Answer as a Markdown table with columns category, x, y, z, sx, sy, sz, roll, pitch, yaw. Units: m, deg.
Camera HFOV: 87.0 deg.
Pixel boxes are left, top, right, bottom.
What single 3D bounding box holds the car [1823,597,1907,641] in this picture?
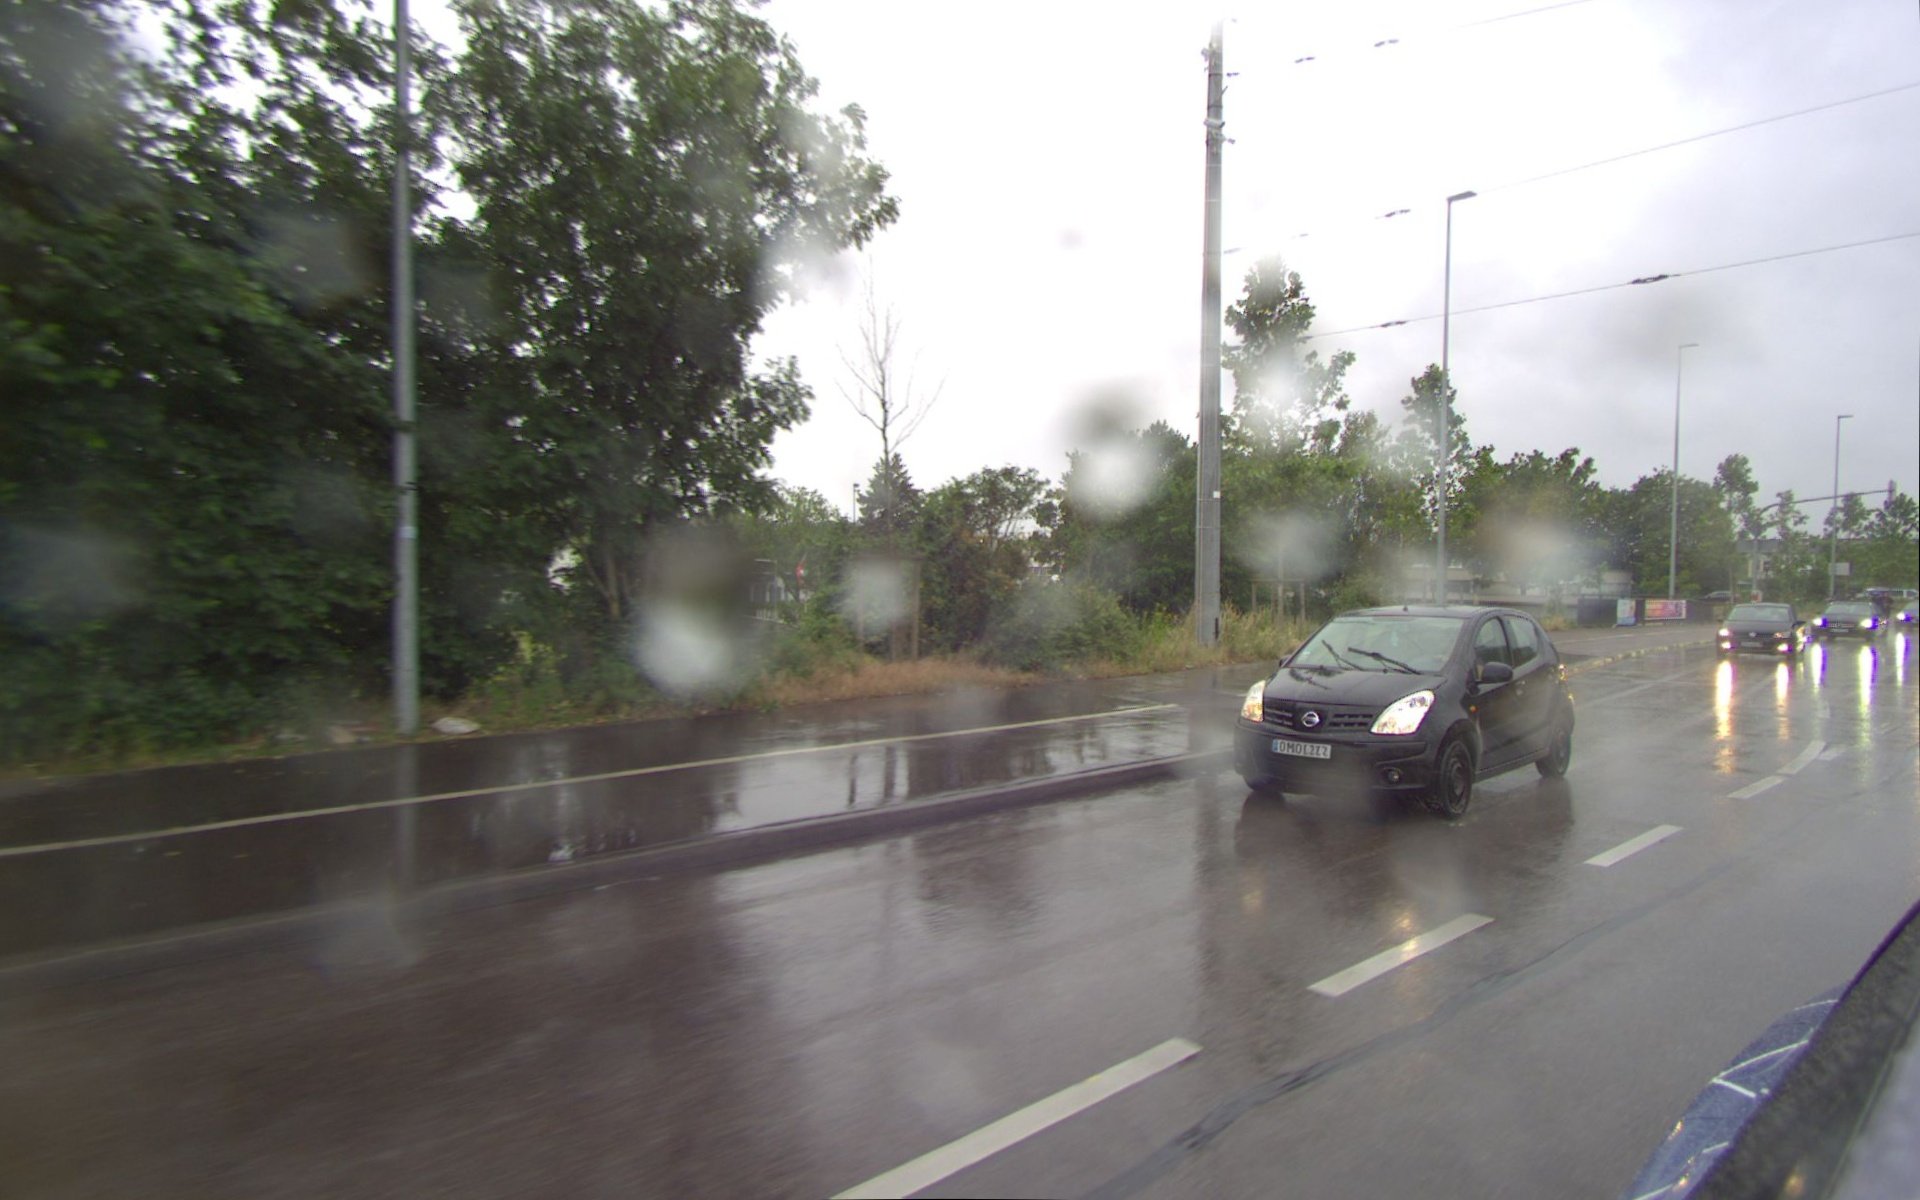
| category | x | y | z | sx | sy | sz | roll | pitch | yaw |
| --- | --- | --- | --- | --- | --- | --- | --- | --- | --- |
| car | 34.024 | 0.703 | 38.027 | 3.969 | 1.544 | 1.715 | 1 | 0 | -38 |

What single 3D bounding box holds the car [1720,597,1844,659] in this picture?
| category | x | y | z | sx | sy | sz | roll | pitch | yaw |
| --- | --- | --- | --- | --- | --- | --- | --- | --- | --- |
| car | 21.645 | 0.710 | 26.605 | 3.969 | 1.503 | 1.715 | 1 | 0 | -38 |

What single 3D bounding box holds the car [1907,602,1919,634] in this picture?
| category | x | y | z | sx | sy | sz | roll | pitch | yaw |
| --- | --- | --- | --- | --- | --- | --- | --- | --- | --- |
| car | 47.856 | 0.905 | 49.456 | 4.101 | 1.544 | 1.715 | 1 | 0 | -38 |

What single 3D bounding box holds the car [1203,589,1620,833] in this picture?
| category | x | y | z | sx | sy | sz | roll | pitch | yaw |
| --- | --- | --- | --- | --- | --- | --- | --- | --- | --- |
| car | 3.832 | 0.692 | 8.225 | 4.025 | 1.480 | 1.772 | 1 | 0 | -45 |

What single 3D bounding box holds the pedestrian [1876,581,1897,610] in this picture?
| category | x | y | z | sx | sy | sz | roll | pitch | yaw |
| --- | --- | --- | --- | --- | --- | --- | --- | --- | --- |
| pedestrian | 51.714 | -0.258 | 56.468 | 0.607 | 1.631 | 0.734 | -1 | 3 | -38 |
